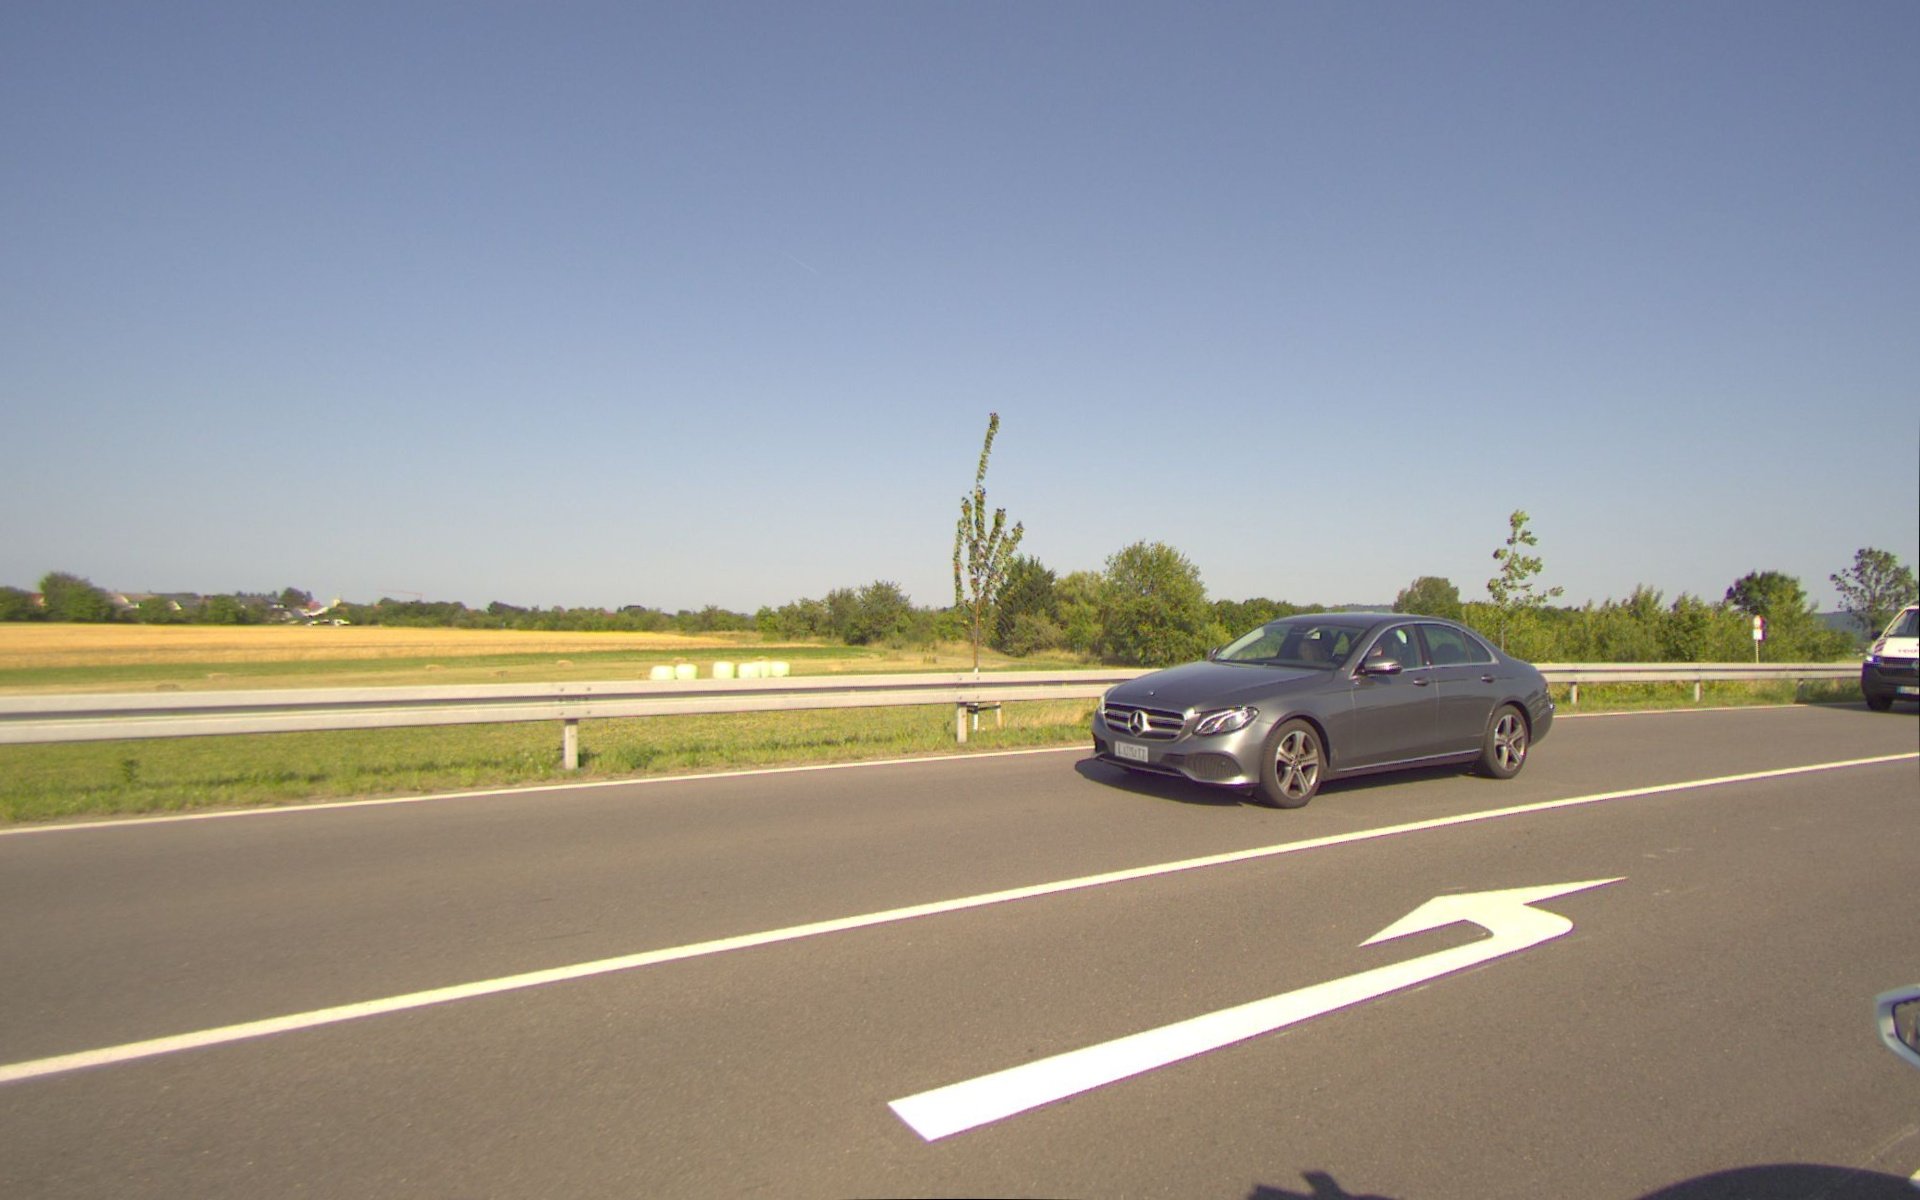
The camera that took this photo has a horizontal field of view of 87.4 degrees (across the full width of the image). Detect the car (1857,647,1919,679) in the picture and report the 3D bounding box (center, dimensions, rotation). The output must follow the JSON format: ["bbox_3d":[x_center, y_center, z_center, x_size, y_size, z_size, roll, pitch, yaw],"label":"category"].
[{"bbox_3d":[65.695,4.393,70.050,1.803,1.966,4.926,2,0,1],"label":"car"}]

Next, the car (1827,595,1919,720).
[{"bbox_3d":[18.250,0.959,18.243,5.089,2.041,2.106,-1,2,-29],"label":"car"}]

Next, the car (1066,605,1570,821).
[{"bbox_3d":[3.336,0.844,8.997,4.655,1.468,1.784,2,0,-33],"label":"car"}]
